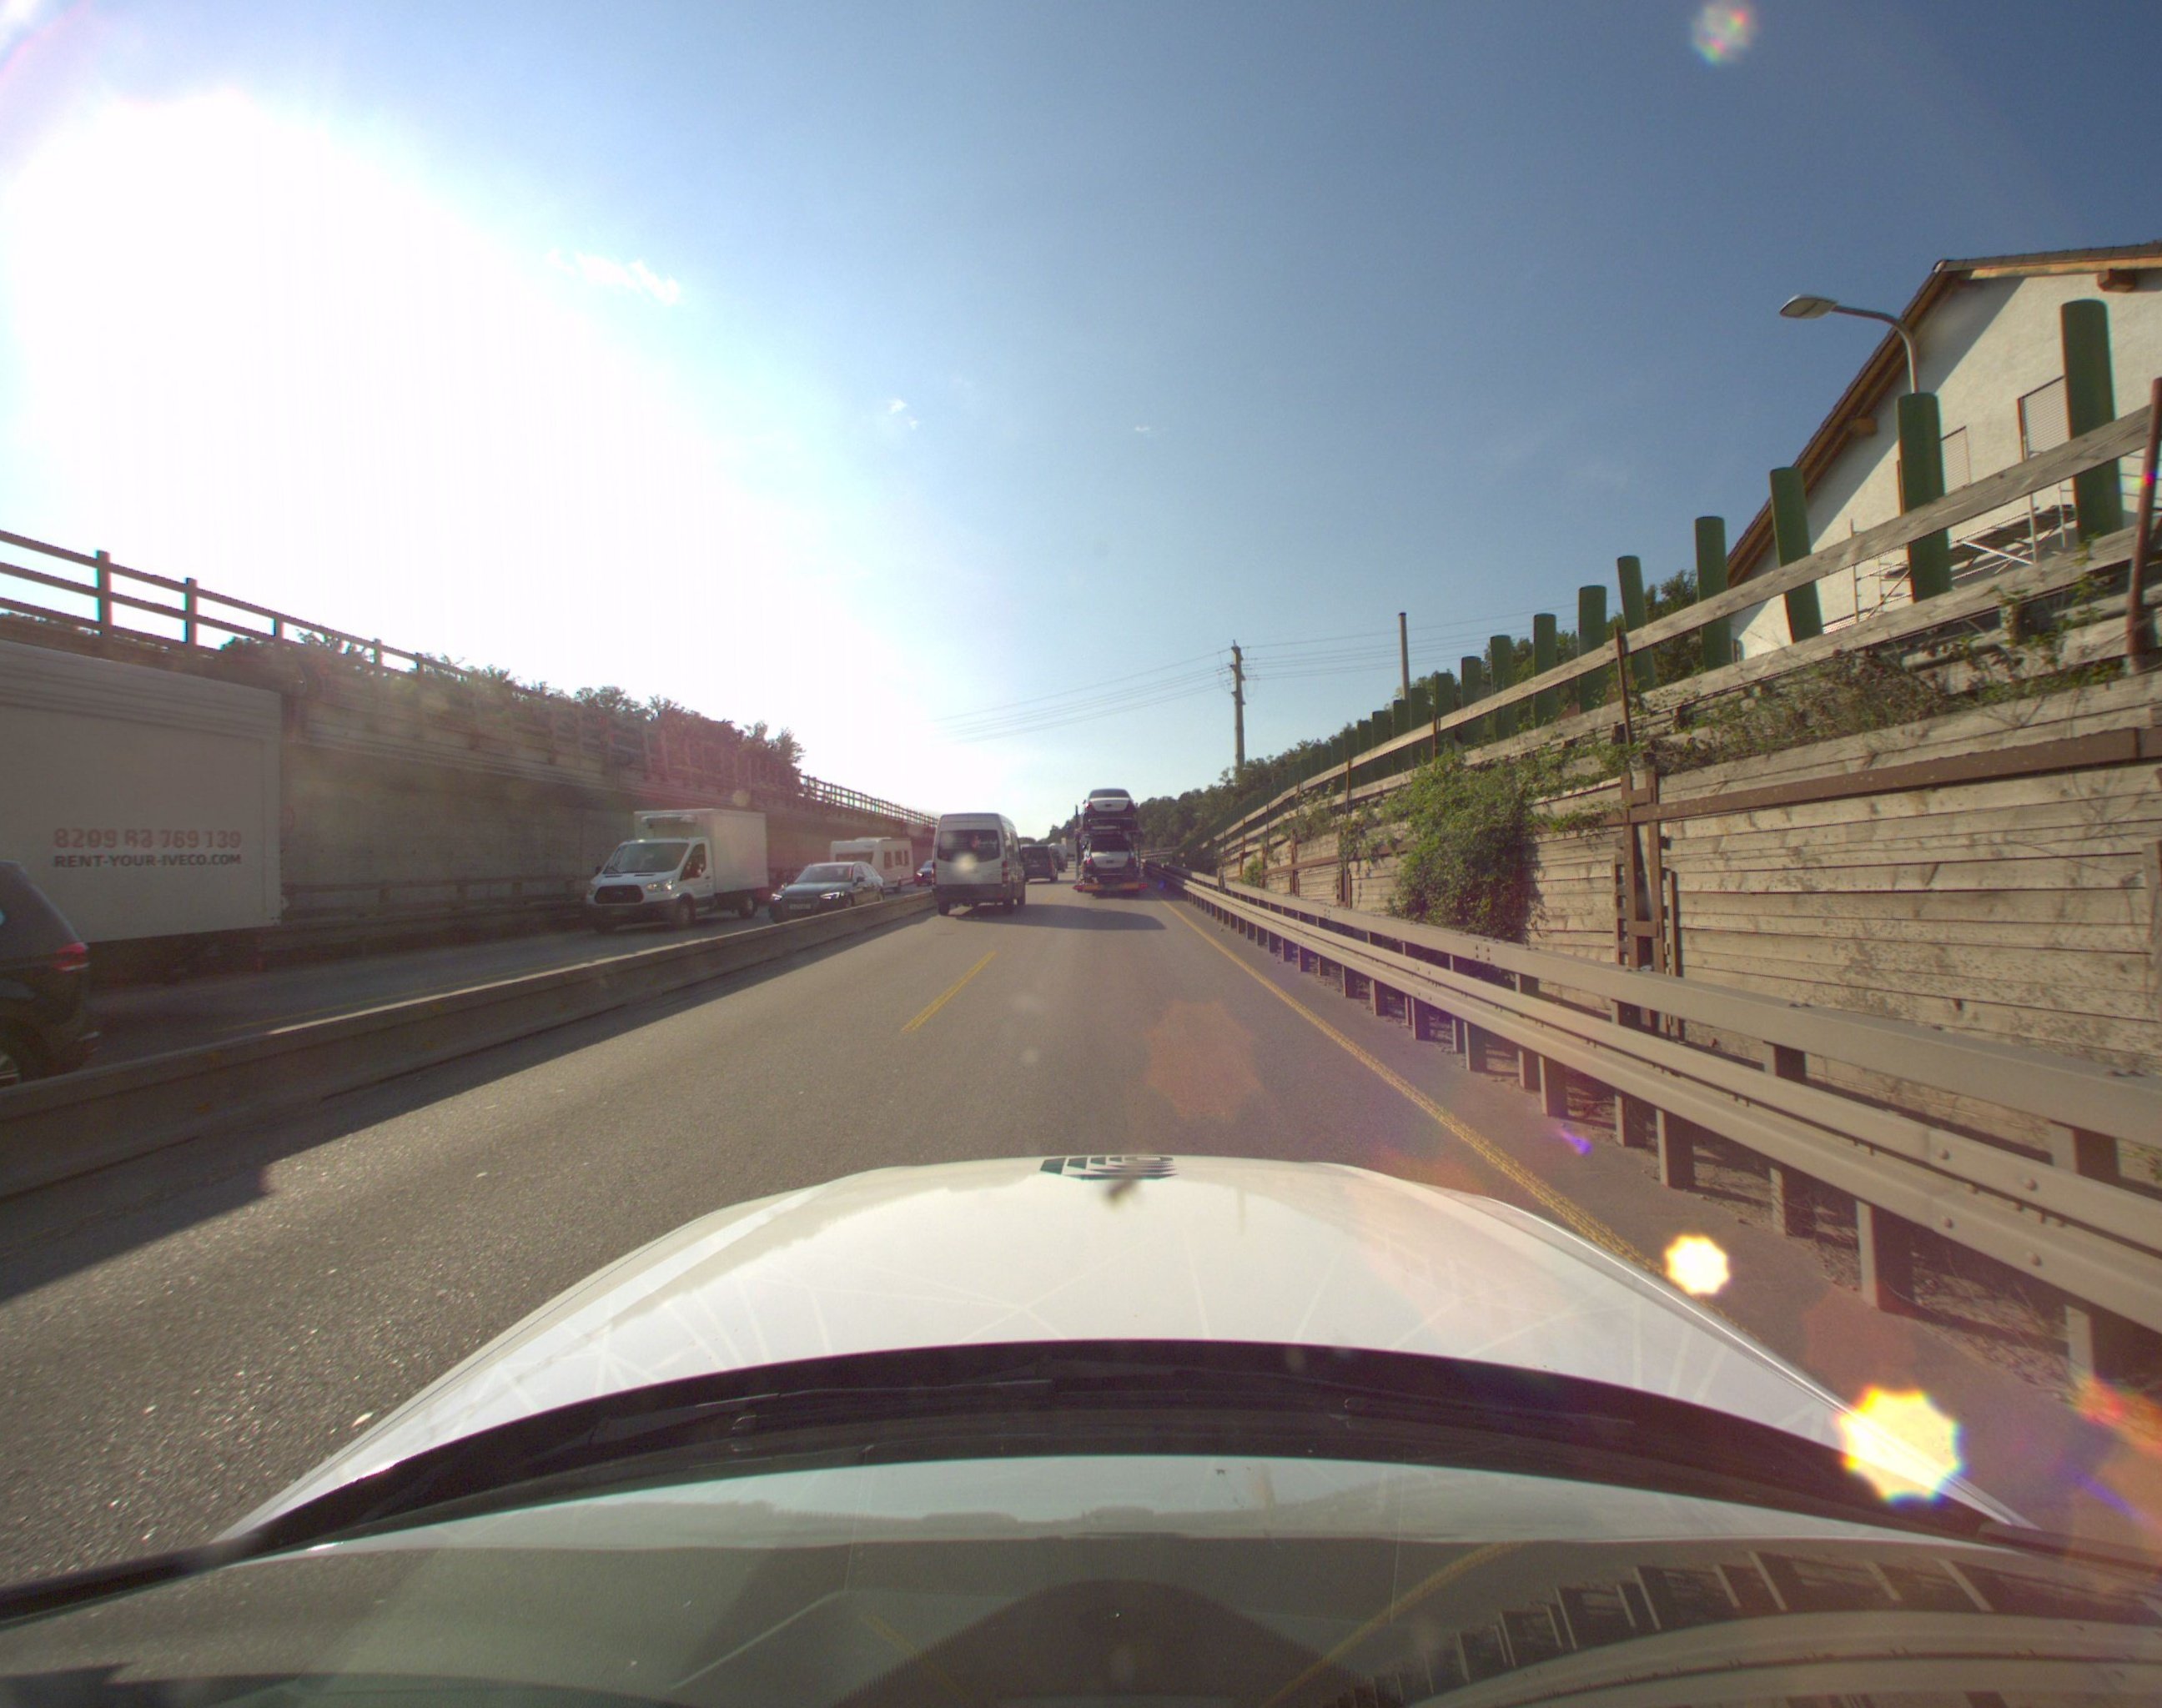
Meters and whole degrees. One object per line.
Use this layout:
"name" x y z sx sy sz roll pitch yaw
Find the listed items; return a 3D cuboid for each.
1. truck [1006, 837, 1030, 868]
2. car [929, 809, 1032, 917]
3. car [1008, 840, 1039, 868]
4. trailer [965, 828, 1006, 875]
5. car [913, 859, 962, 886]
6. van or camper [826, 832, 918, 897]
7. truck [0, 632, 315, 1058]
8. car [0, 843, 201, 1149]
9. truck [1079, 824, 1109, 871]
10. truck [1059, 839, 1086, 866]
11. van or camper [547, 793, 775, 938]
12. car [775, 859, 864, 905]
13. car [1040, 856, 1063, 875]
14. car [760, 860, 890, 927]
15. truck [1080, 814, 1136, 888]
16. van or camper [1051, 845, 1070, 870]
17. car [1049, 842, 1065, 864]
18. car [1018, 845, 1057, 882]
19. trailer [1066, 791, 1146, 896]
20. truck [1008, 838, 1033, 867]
"truck" -8.780 -0.218 113.992 2.974 4.153 7.387 0 -1 -2
"car" -2.662 0.237 22.973 1.986 2.648 5.533 -1 0 2
"car" -5.422 0.010 77.358 2.462 2.534 4.001 -1 -1 1
"trailer" -9.201 -0.267 79.650 2.597 4.112 9.627 -4 0 0
"car" -8.683 1.078 49.675 1.965 1.421 4.899 -3 0 0
"van or camper" -9.490 0.471 37.647 2.303 2.663 6.457 -2 0 2
"truck" -10.040 -0.045 5.030 2.705 3.424 8.142 -3 -1 1
"car" -6.768 0.733 2.996 1.825 1.645 4.690 0 -1 2
"truck" 1.261 -0.636 85.194 2.899 4.607 7.282 -1 -1 -1
"truck" -1.608 -0.189 145.549 4.058 4.679 10.574 -1 0 -4
"van or camper" -10.016 0.292 20.254 2.312 2.989 6.223 -2 -1 1
"car" -9.694 0.999 30.638 1.634 1.531 4.785 -2 0 2
"car" -2.404 0.937 67.951 1.719 1.522 3.973 0 0 1
"car" -6.241 0.896 20.431 1.758 1.450 4.459 0 0 1
"truck" 1.454 -0.078 42.613 2.672 3.535 7.197 0 -1 2
"van or camper" -2.166 0.368 87.488 1.963 2.592 5.038 0 -1 -2
"car" -5.573 -0.285 189.995 3.438 5.035 9.639 0 0 -4
"car" -2.287 0.543 43.698 1.802 1.904 3.999 0 -1 0
"trailer" 1.154 -0.228 35.051 2.672 3.535 15.295 0 -1 2
"truck" -8.951 -0.116 122.894 2.974 4.153 15.844 0 0 -1
